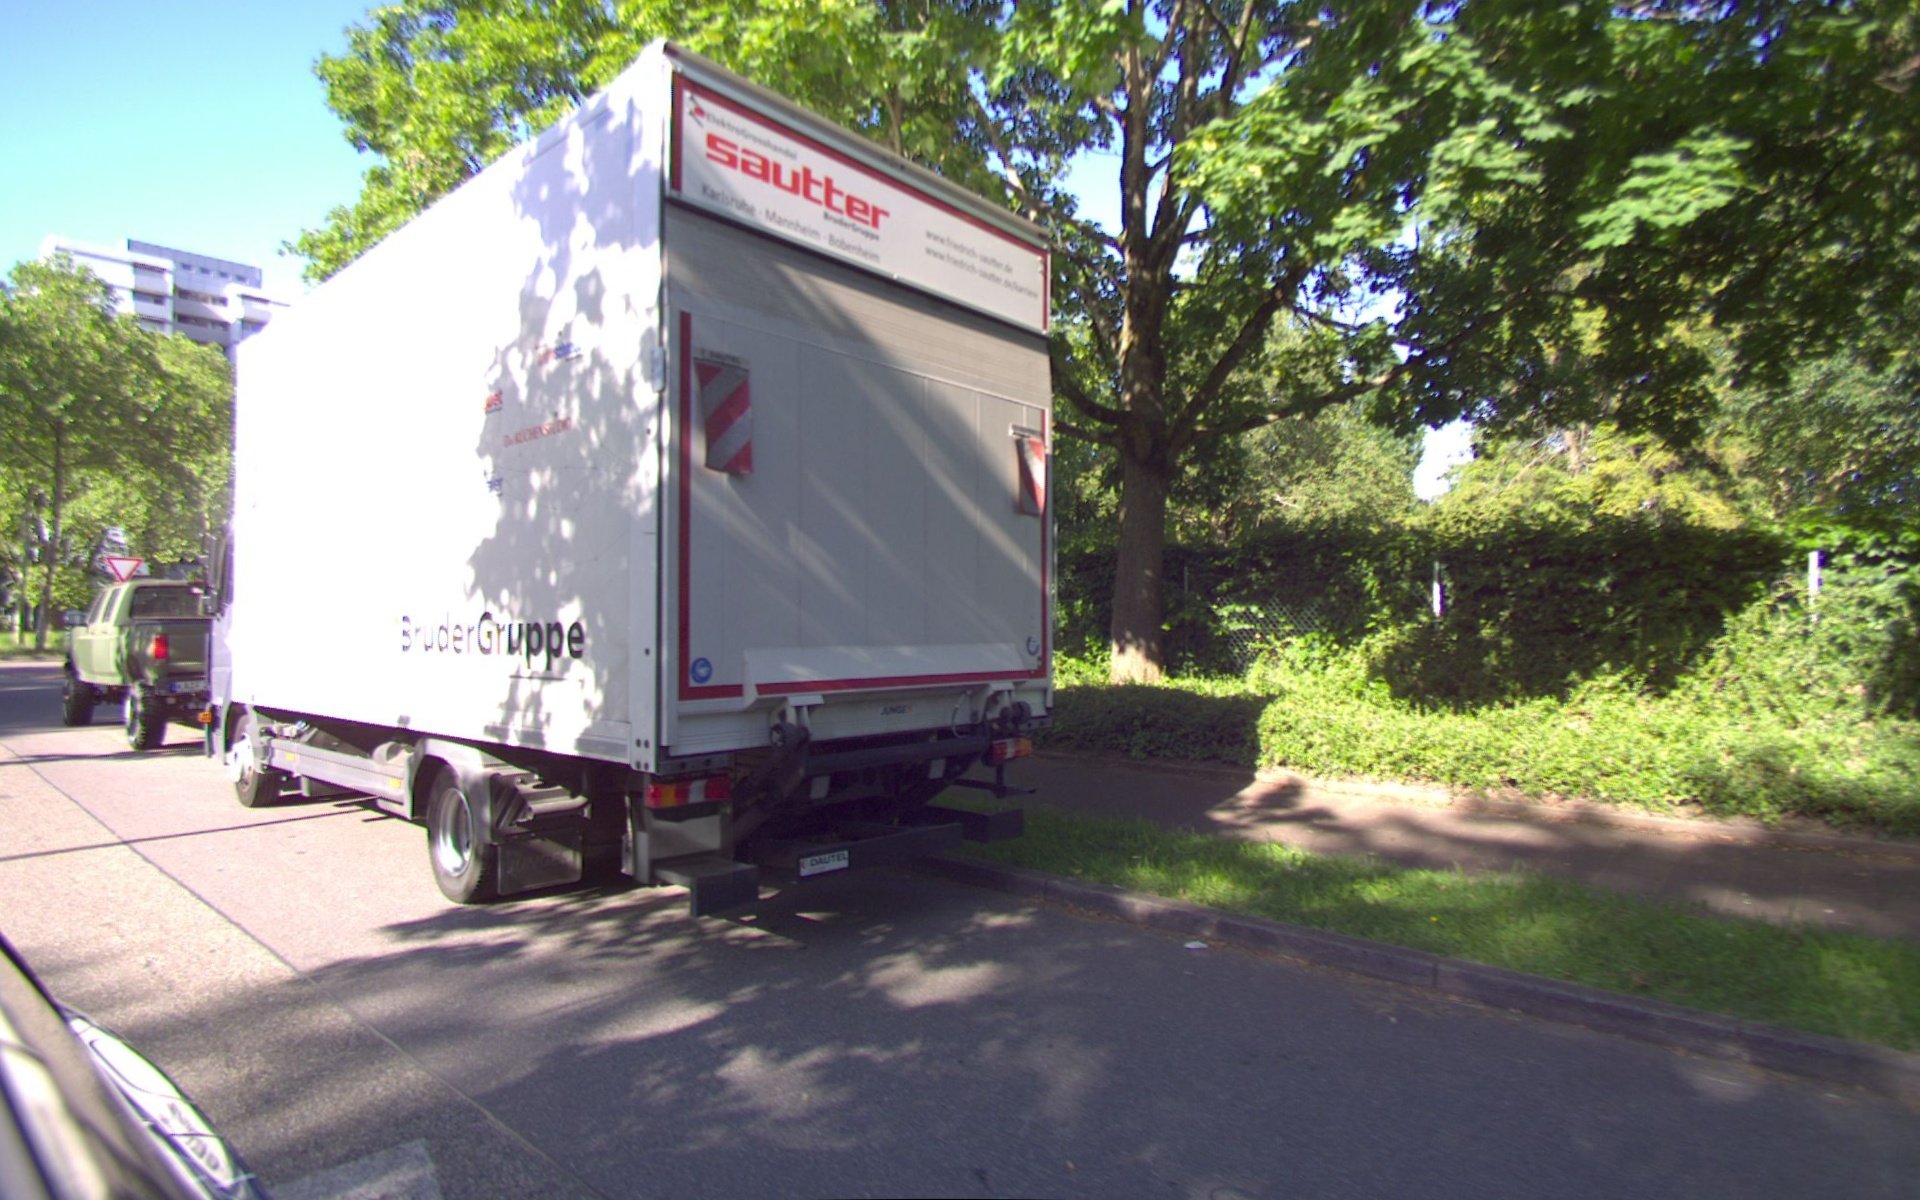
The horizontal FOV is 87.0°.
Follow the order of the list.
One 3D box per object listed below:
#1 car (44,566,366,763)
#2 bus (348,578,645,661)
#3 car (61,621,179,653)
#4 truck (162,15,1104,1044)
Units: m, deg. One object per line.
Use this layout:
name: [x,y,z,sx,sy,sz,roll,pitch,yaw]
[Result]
car: [-10.481,0.754,13.769,6.579,2.112,2.098,-1,-1,40]
bus: [-20.494,0.698,45.749,11.970,3.294,2.700,-1,0,-44]
car: [-42.162,1.817,50.869,1.620,1.402,4.421,-1,0,44]
truck: [-3.127,-0.190,7.307,8.097,3.669,2.706,-1,-2,41]
